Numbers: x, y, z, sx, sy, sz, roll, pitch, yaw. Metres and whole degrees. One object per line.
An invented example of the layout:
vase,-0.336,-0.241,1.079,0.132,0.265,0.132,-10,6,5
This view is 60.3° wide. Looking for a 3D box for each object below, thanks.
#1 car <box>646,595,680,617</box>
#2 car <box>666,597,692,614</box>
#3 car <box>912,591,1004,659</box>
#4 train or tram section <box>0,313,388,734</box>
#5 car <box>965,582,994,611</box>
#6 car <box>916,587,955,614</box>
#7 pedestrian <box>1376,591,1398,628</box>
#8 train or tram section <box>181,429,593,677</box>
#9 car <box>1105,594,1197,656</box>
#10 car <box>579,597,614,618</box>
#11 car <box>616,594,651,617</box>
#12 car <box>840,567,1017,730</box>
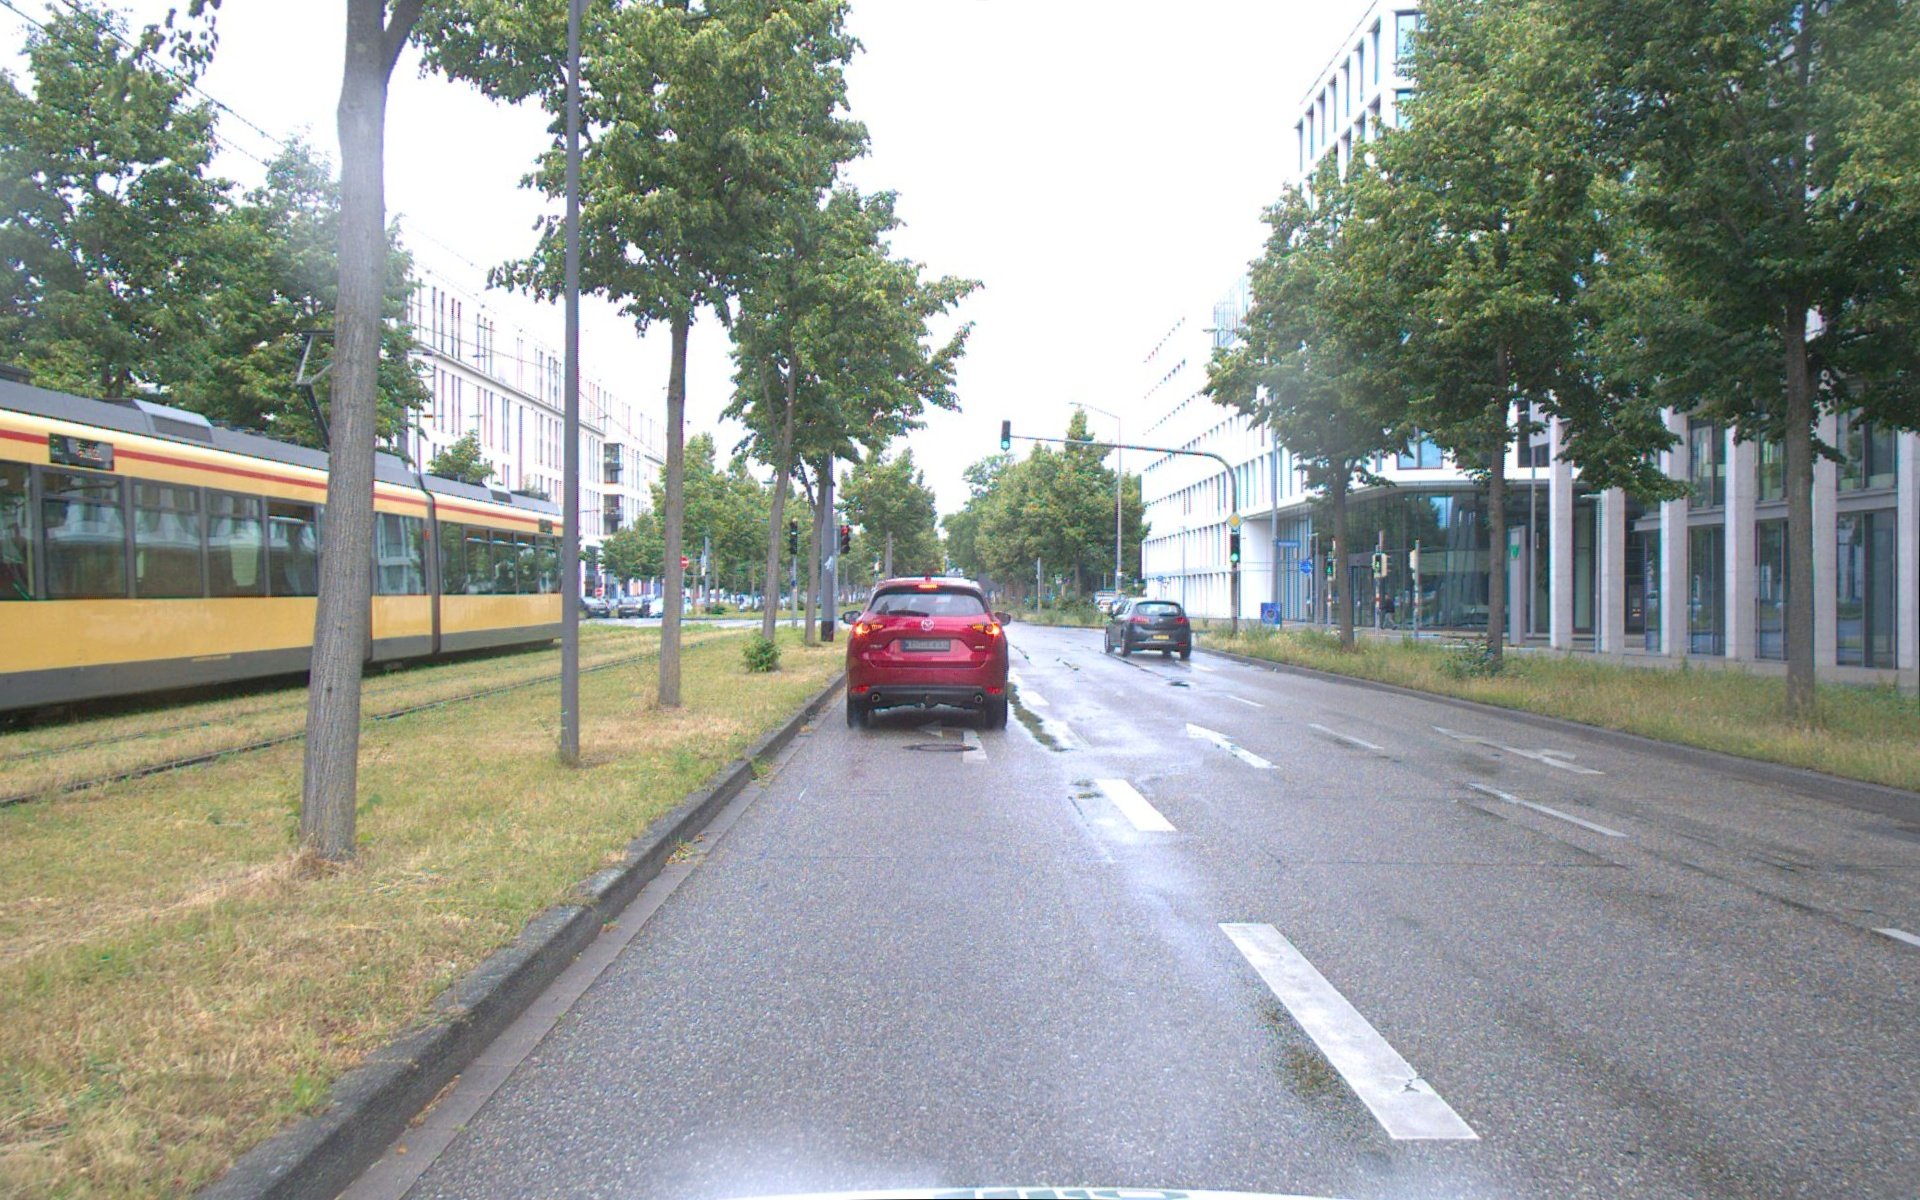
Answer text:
car,-21.116,0.407,117.719,1.954,1.510,4.441,1,0,-5
car,-24.259,0.485,142.834,1.955,1.510,4.440,0,0,-6
car,-0.001,0.556,39.145,1.918,1.490,3.783,1,0,4
train or tram section,-10.088,-0.708,18.234,3.065,3.723,13.404,1,0,-1
car,1.404,-0.235,119.681,1.953,2.049,3.999,0,0,-1
car,-1.482,0.017,97.791,1.929,1.462,4.548,2,0,-5
pedestrian,20.224,0.426,78.336,0.673,1.737,0.772,1,0,-40
train or tram section,-10.320,-0.746,32.511,3.065,3.723,15.061,1,0,-1
car,4.801,0.604,42.073,1.709,1.490,3.779,1,0,-3
car,-27.074,0.531,123.271,1.954,1.510,4.442,0,0,-4
car,-23.988,0.388,121.764,1.953,1.646,3.998,0,0,-3
car,-0.380,0.507,19.547,1.860,1.706,3.999,1,0,-1
